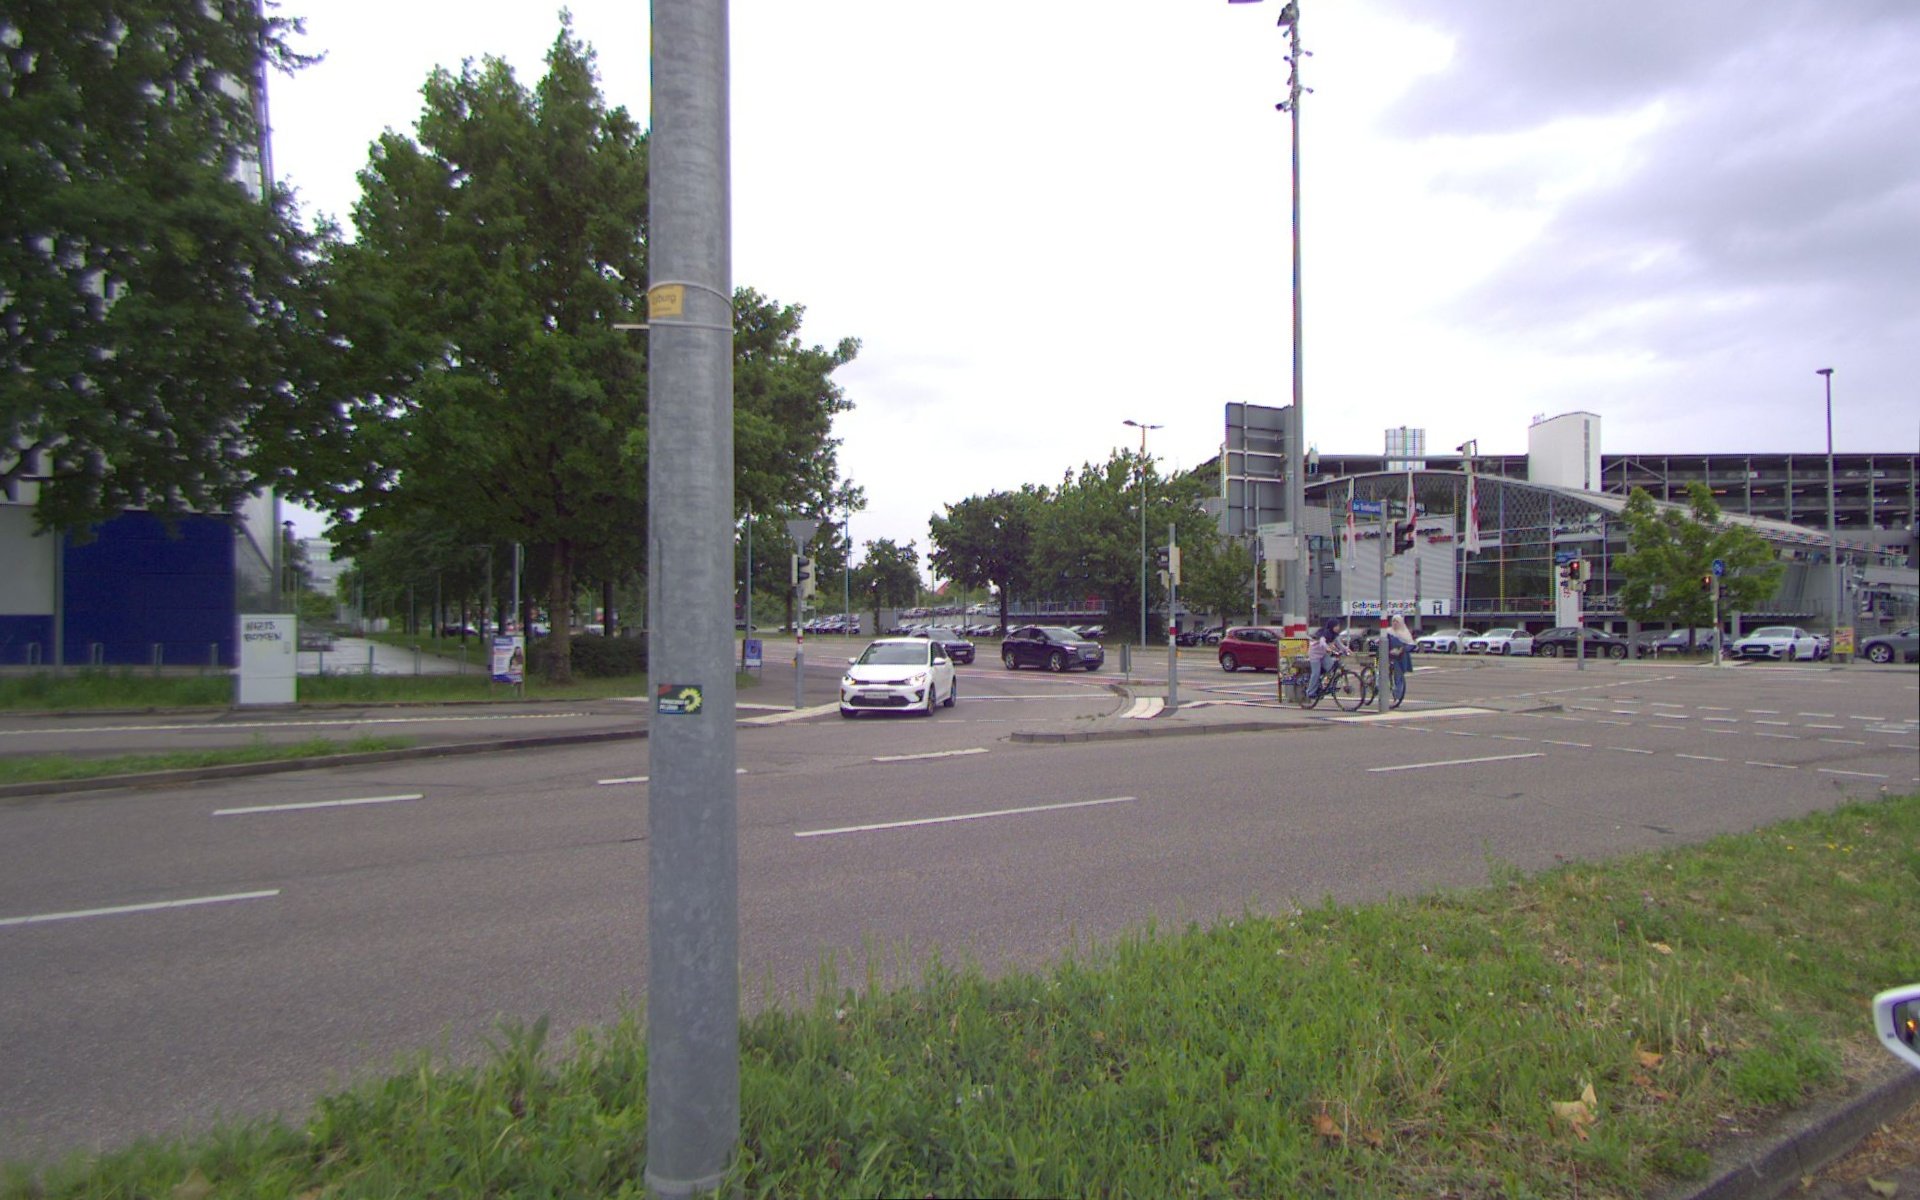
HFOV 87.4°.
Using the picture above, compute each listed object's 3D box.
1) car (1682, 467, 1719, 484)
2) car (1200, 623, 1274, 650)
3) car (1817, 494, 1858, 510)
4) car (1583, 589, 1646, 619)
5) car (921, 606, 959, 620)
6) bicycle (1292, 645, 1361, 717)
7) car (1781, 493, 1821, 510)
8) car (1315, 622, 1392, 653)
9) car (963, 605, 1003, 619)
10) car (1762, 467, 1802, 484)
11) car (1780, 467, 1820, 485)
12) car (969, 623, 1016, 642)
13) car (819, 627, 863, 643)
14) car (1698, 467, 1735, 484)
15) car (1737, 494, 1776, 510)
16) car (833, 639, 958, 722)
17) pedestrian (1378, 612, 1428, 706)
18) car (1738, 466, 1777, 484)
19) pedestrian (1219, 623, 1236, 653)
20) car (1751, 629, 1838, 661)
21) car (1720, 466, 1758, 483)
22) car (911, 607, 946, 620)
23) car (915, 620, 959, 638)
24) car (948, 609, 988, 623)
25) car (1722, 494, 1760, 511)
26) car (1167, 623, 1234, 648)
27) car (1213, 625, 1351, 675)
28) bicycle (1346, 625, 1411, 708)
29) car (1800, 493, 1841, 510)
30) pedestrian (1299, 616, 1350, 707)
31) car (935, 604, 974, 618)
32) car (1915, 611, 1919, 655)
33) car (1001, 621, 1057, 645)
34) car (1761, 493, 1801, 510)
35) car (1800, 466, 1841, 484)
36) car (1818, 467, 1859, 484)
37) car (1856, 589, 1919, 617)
[{"bbox_3d":[96.298,-16.170,130.681,1.960,1.689,4.001,1,0,2],"label":"car"},{"bbox_3d":[17.135,2.262,62.064,4.617,1.491,1.830,4,-2,-34],"label":"car"},{"bbox_3d":[113.557,-12.703,130.018,1.960,1.689,4.001,1,0,2],"label":"car"},{"bbox_3d":[39.383,0.268,60.431,3.960,1.684,1.807,2,0,-35],"label":"car"},{"bbox_3d":[-2.451,1.601,122.421,4.306,1.516,1.863,2,0,-35],"label":"car"},{"bbox_3d":[6.442,1.390,17.732,0.498,1.181,1.948,2,-3,0],"label":"bicycle"},{"bbox_3d":[108.909,-12.760,130.166,1.960,1.689,4.001,1,0,2],"label":"car"},{"bbox_3d":[21.607,2.085,55.120,4.148,1.505,1.891,4,-3,-34],"label":"car"},{"bbox_3d":[2.641,1.350,116.202,4.306,1.516,1.863,2,0,-35],"label":"car"},{"bbox_3d":[106.605,-16.140,130.307,1.960,1.689,4.001,1,0,2],"label":"car"},{"bbox_3d":[108.878,-16.072,130.300,1.960,1.689,4.001,1,0,2],"label":"car"},{"bbox_3d":[2.700,2.741,84.423,3.639,1.506,1.696,2,0,-34],"label":"car"},{"bbox_3d":[-13.080,3.864,110.589,4.413,1.592,1.981,0,-1,-34],"label":"car"},{"bbox_3d":[98.516,-16.255,130.854,1.960,1.689,4.001,1,0,2],"label":"car"},{"bbox_3d":[103.664,-12.730,130.768,1.960,1.689,4.001,1,0,2],"label":"car"},{"bbox_3d":[-1.164,1.503,19.797,1.751,1.471,3.936,0,-2,7],"label":"car"},{"bbox_3d":[7.996,1.073,18.165,0.628,1.647,0.693,-2,-4,11],"label":"pedestrian"},{"bbox_3d":[103.542,-16.209,130.461,1.960,1.689,4.001,1,0,2],"label":"car"},{"bbox_3d":[16.900,2.411,63.486,0.666,1.895,0.713,3,-2,-31],"label":"pedestrian"},{"bbox_3d":[53.187,2.855,64.061,1.742,1.862,3.960,2,0,-35],"label":"car"},{"bbox_3d":[101.333,-16.274,130.647,1.960,1.689,4.001,1,0,2],"label":"car"},{"bbox_3d":[-3.948,1.694,124.561,4.058,1.516,1.713,2,0,-35],"label":"car"},{"bbox_3d":[-2.078,2.609,90.978,3.639,1.506,1.696,2,0,-34],"label":"car"},{"bbox_3d":[0.966,1.840,118.494,4.306,1.516,2.049,2,0,-35],"label":"car"},{"bbox_3d":[101.456,-12.661,130.511,1.960,1.689,4.001,1,0,2],"label":"car"},{"bbox_3d":[15.437,2.283,64.303,4.175,1.439,1.838,4,-3,-34],"label":"car"},{"bbox_3d":[10.287,1.606,32.327,1.724,1.507,4.039,2,-3,-35],"label":"car"},{"bbox_3d":[7.593,1.213,18.309,0.585,1.414,1.936,-2,-4,8],"label":"bicycle"},{"bbox_3d":[111.411,-12.740,130.120,1.960,1.689,4.001,1,0,2],"label":"car"},{"bbox_3d":[6.446,1.080,17.786,0.641,1.569,0.650,2,-2,0],"label":"pedestrian"},{"bbox_3d":[-0.618,1.359,120.556,4.306,1.516,1.951,2,0,-35],"label":"car"},{"bbox_3d":[46.289,1.436,45.036,1.981,2.040,4.742,2,-4,-35],"label":"car"},{"bbox_3d":[5.561,2.631,80.740,4.168,1.505,1.940,7,-3,-34],"label":"car"},{"bbox_3d":[106.450,-12.767,130.277,1.960,1.689,4.001,1,0,2],"label":"car"},{"bbox_3d":[111.513,-16.180,130.234,1.960,1.689,4.001,1,0,2],"label":"car"},{"bbox_3d":[113.687,-16.107,130.020,1.960,1.689,4.001,1,0,2],"label":"car"},{"bbox_3d":[64.995,0.212,69.589,1.740,1.862,3.965,2,0,-32],"label":"car"}]
